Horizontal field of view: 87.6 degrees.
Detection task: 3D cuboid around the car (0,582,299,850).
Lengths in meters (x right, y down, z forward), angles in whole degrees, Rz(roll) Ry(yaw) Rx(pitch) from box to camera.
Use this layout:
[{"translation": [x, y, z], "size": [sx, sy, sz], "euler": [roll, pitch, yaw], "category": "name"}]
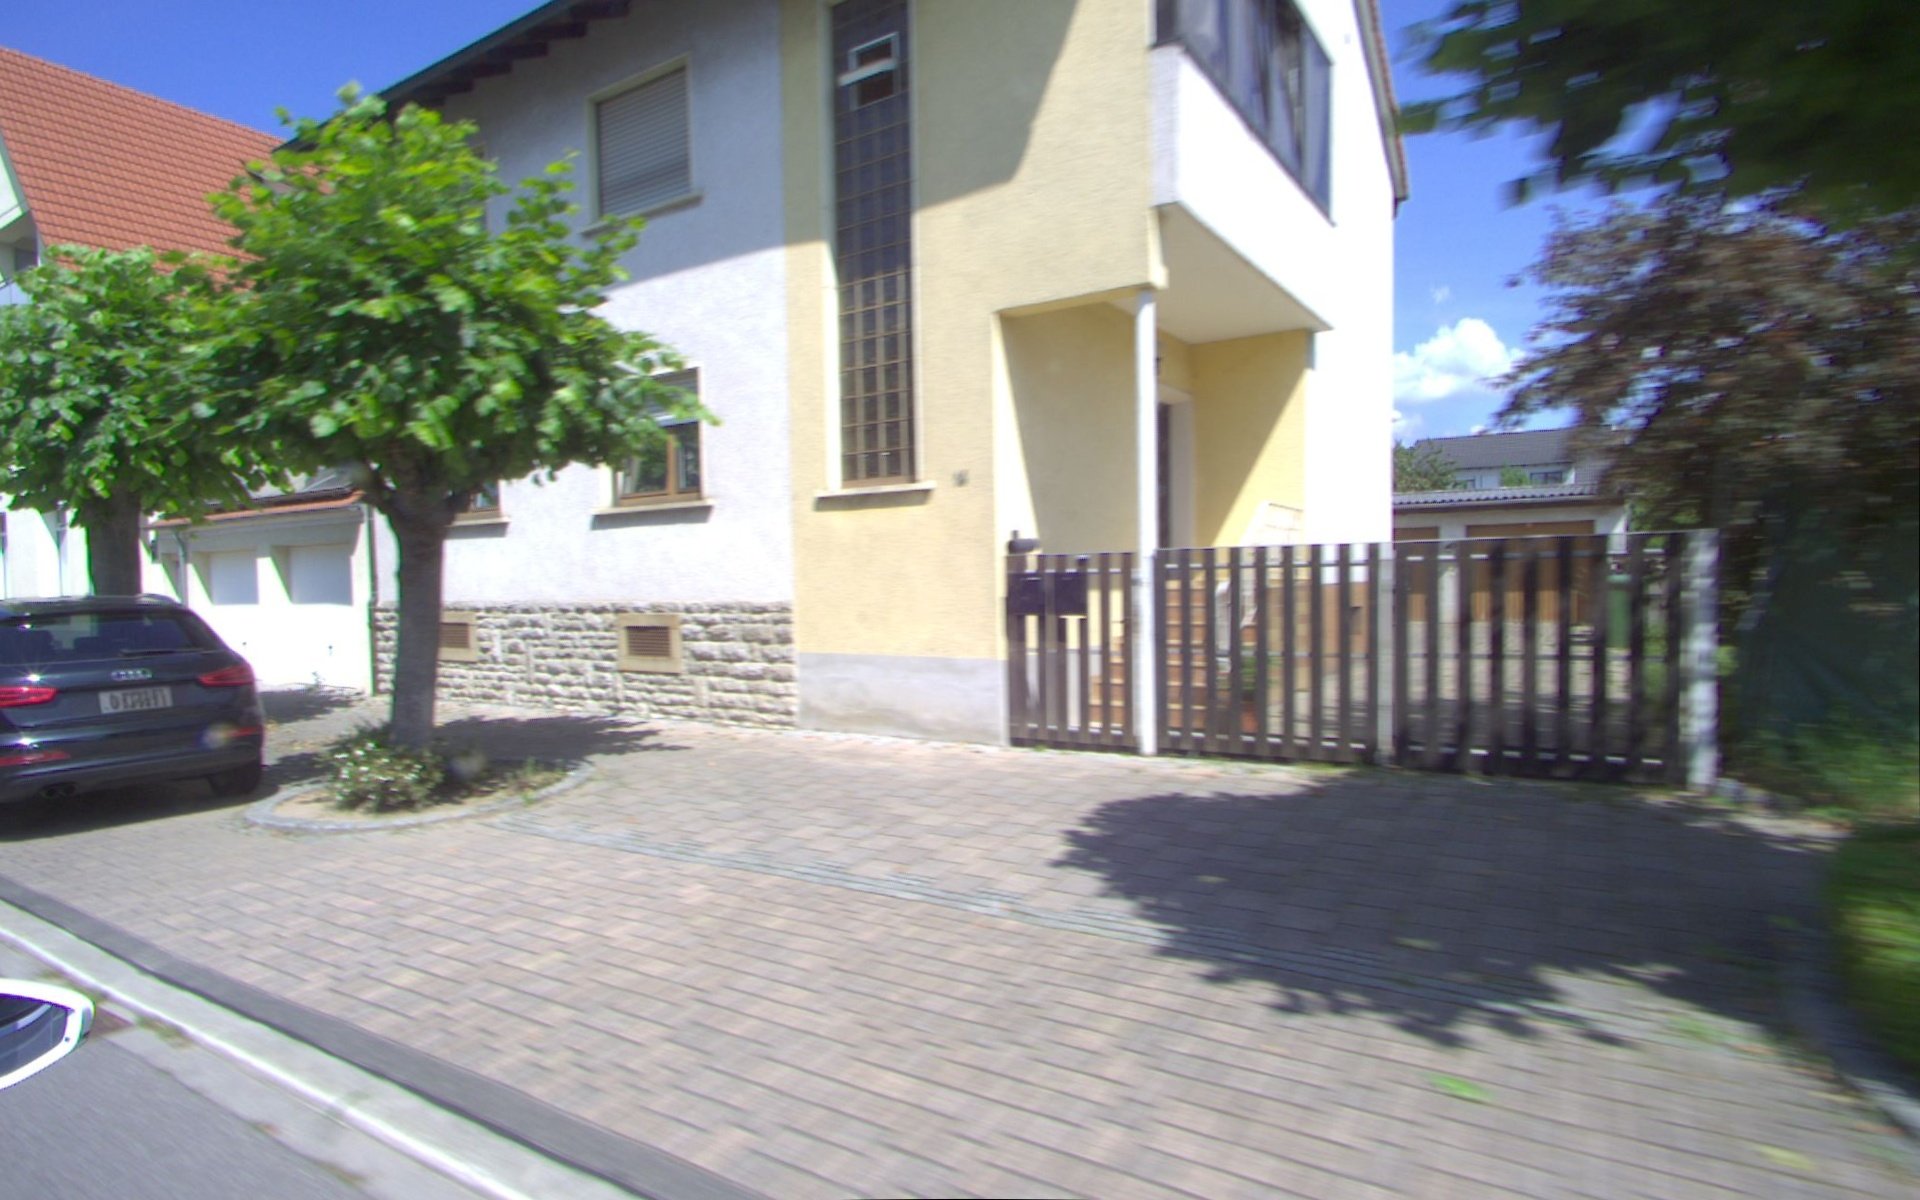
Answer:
[{"translation": [-7.097, 0.704, 7.922], "size": [4.004, 1.608, 1.817], "euler": [0, 3, 37], "category": "car"}]
